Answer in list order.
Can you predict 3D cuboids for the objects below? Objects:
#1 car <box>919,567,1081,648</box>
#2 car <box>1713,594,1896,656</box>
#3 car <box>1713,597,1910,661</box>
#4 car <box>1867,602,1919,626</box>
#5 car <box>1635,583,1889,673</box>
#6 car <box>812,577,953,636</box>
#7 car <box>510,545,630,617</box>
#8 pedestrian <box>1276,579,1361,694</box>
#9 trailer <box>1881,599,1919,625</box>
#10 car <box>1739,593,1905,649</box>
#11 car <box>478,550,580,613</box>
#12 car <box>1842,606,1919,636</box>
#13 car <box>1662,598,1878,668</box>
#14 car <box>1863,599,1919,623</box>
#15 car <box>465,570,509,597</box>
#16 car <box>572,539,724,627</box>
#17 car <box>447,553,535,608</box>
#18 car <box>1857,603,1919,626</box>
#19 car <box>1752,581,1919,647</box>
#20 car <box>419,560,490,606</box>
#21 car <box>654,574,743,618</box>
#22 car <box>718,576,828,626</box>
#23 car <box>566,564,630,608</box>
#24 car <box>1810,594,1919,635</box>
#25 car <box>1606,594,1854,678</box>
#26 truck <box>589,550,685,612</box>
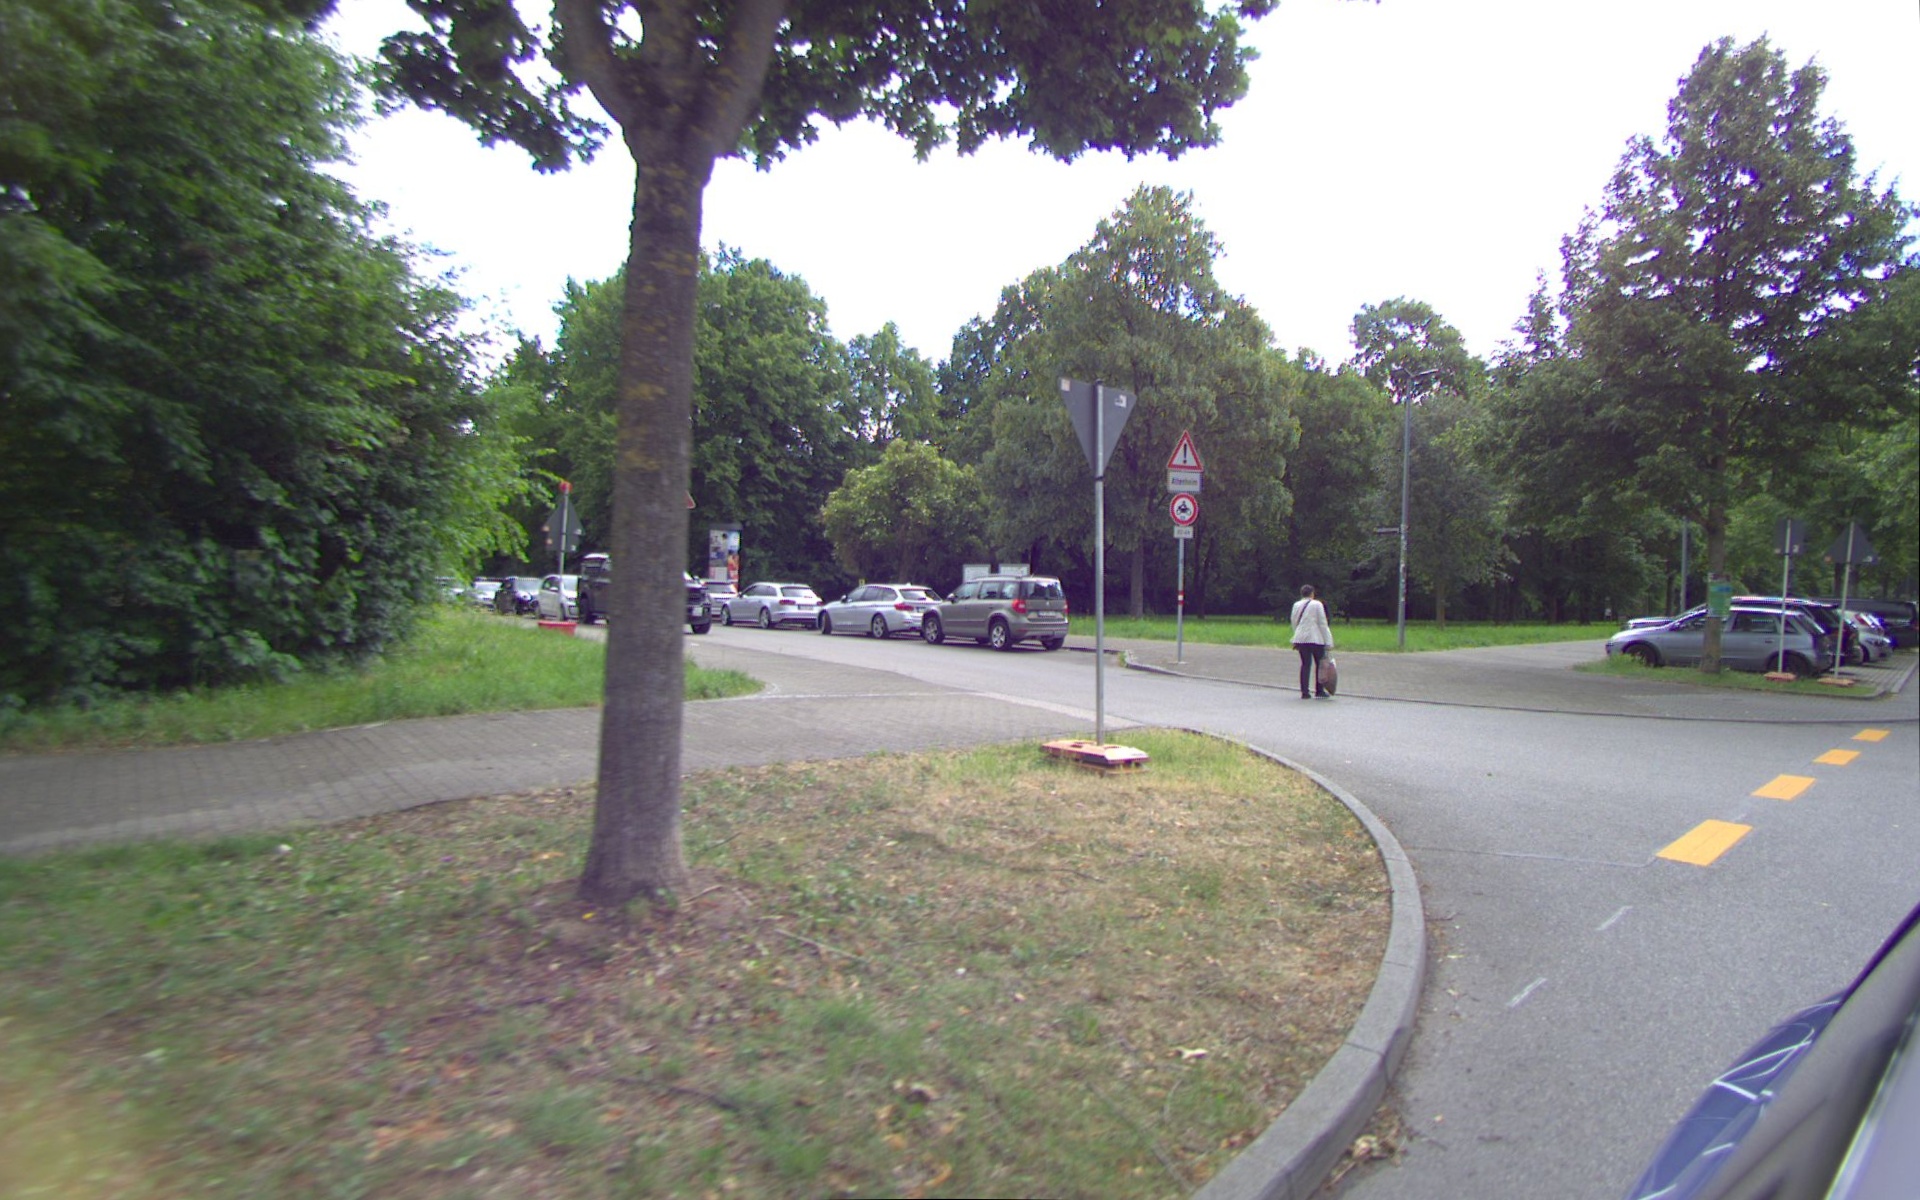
[{"bbox_3d":[0.837,0.115,23.438,1.735,1.689,3.791,1,1,-37],"label":"car"},{"bbox_3d":[25.164,0.682,30.241,1.781,1.546,3.992,0,3,-43],"label":"car"},{"bbox_3d":[23.493,0.723,28.006,1.904,1.447,3.991,0,3,-44],"label":"car"},{"bbox_3d":[68.686,1.015,73.542,4.113,1.567,1.832,4,2,43],"label":"car"},{"bbox_3d":[17.906,0.546,22.744,1.945,1.670,4.133,0,3,-40],"label":"car"},{"bbox_3d":[-2.191,0.132,27.598,1.672,1.446,4.404,0,1,-38],"label":"car"},{"bbox_3d":[-12.405,-0.607,31.979,2.098,2.082,5.333,1,1,-38],"label":"car"},{"bbox_3d":[5.194,0.507,14.671,0.795,1.596,0.836,1,0,-38],"label":"pedestrian"},{"bbox_3d":[72.371,0.944,77.215,3.030,1.812,1.539,4,2,43],"label":"trailer"},{"bbox_3d":[28.545,0.649,33.597,1.763,1.529,3.967,1,3,-43],"label":"car"},{"bbox_3d":[-15.595,-0.661,36.451,2.098,2.082,5.333,1,1,-38],"label":"car"},{"bbox_3d":[52.258,1.157,56.712,1.820,1.474,4.078,1,2,-43],"label":"car"},{"bbox_3d":[19.700,0.734,24.732,1.790,1.375,3.841,0,3,-40],"label":"car"},{"bbox_3d":[75.690,0.917,81.060,1.939,1.714,4.828,1,2,-41],"label":"car"},{"bbox_3d":[-30.294,-1.056,64.750,1.672,1.650,4.295,0,1,-37],"label":"car"},{"bbox_3d":[-8.394,-0.455,26.890,2.098,2.082,5.333,1,1,-38],"label":"car"},{"bbox_3d":[-19.079,-0.778,41.037,2.098,2.082,5.333,1,1,-38],"label":"car"},{"bbox_3d":[66.721,1.032,72.154,4.005,1.439,1.766,4,2,41],"label":"car"},{"bbox_3d":[32.201,0.457,36.858,2.129,2.038,4.962,1,3,-43],"label":"car"},{"bbox_3d":[-24.587,-0.822,49.110,2.098,2.082,5.333,1,1,-38],"label":"car"},{"bbox_3d":[-9.802,-0.177,37.708,1.672,1.545,4.295,0,1,-37],"label":"car"},{"bbox_3d":[-6.086,-0.007,32.556,1.672,1.446,4.441,0,1,-37],"label":"car"},{"bbox_3d":[-17.407,-0.688,48.547,1.672,2.022,4.295,1,1,-37],"label":"car"},{"bbox_3d":[43.105,0.668,47.703,2.048,1.696,4.420,2,2,-44],"label":"car"},{"bbox_3d":[16.008,0.661,21.172,1.820,1.420,3.838,0,3,-42],"label":"car"},{"bbox_3d":[-13.795,-0.801,42.968,2.152,2.456,5.522,1,1,-37],"label":"truck"}]
